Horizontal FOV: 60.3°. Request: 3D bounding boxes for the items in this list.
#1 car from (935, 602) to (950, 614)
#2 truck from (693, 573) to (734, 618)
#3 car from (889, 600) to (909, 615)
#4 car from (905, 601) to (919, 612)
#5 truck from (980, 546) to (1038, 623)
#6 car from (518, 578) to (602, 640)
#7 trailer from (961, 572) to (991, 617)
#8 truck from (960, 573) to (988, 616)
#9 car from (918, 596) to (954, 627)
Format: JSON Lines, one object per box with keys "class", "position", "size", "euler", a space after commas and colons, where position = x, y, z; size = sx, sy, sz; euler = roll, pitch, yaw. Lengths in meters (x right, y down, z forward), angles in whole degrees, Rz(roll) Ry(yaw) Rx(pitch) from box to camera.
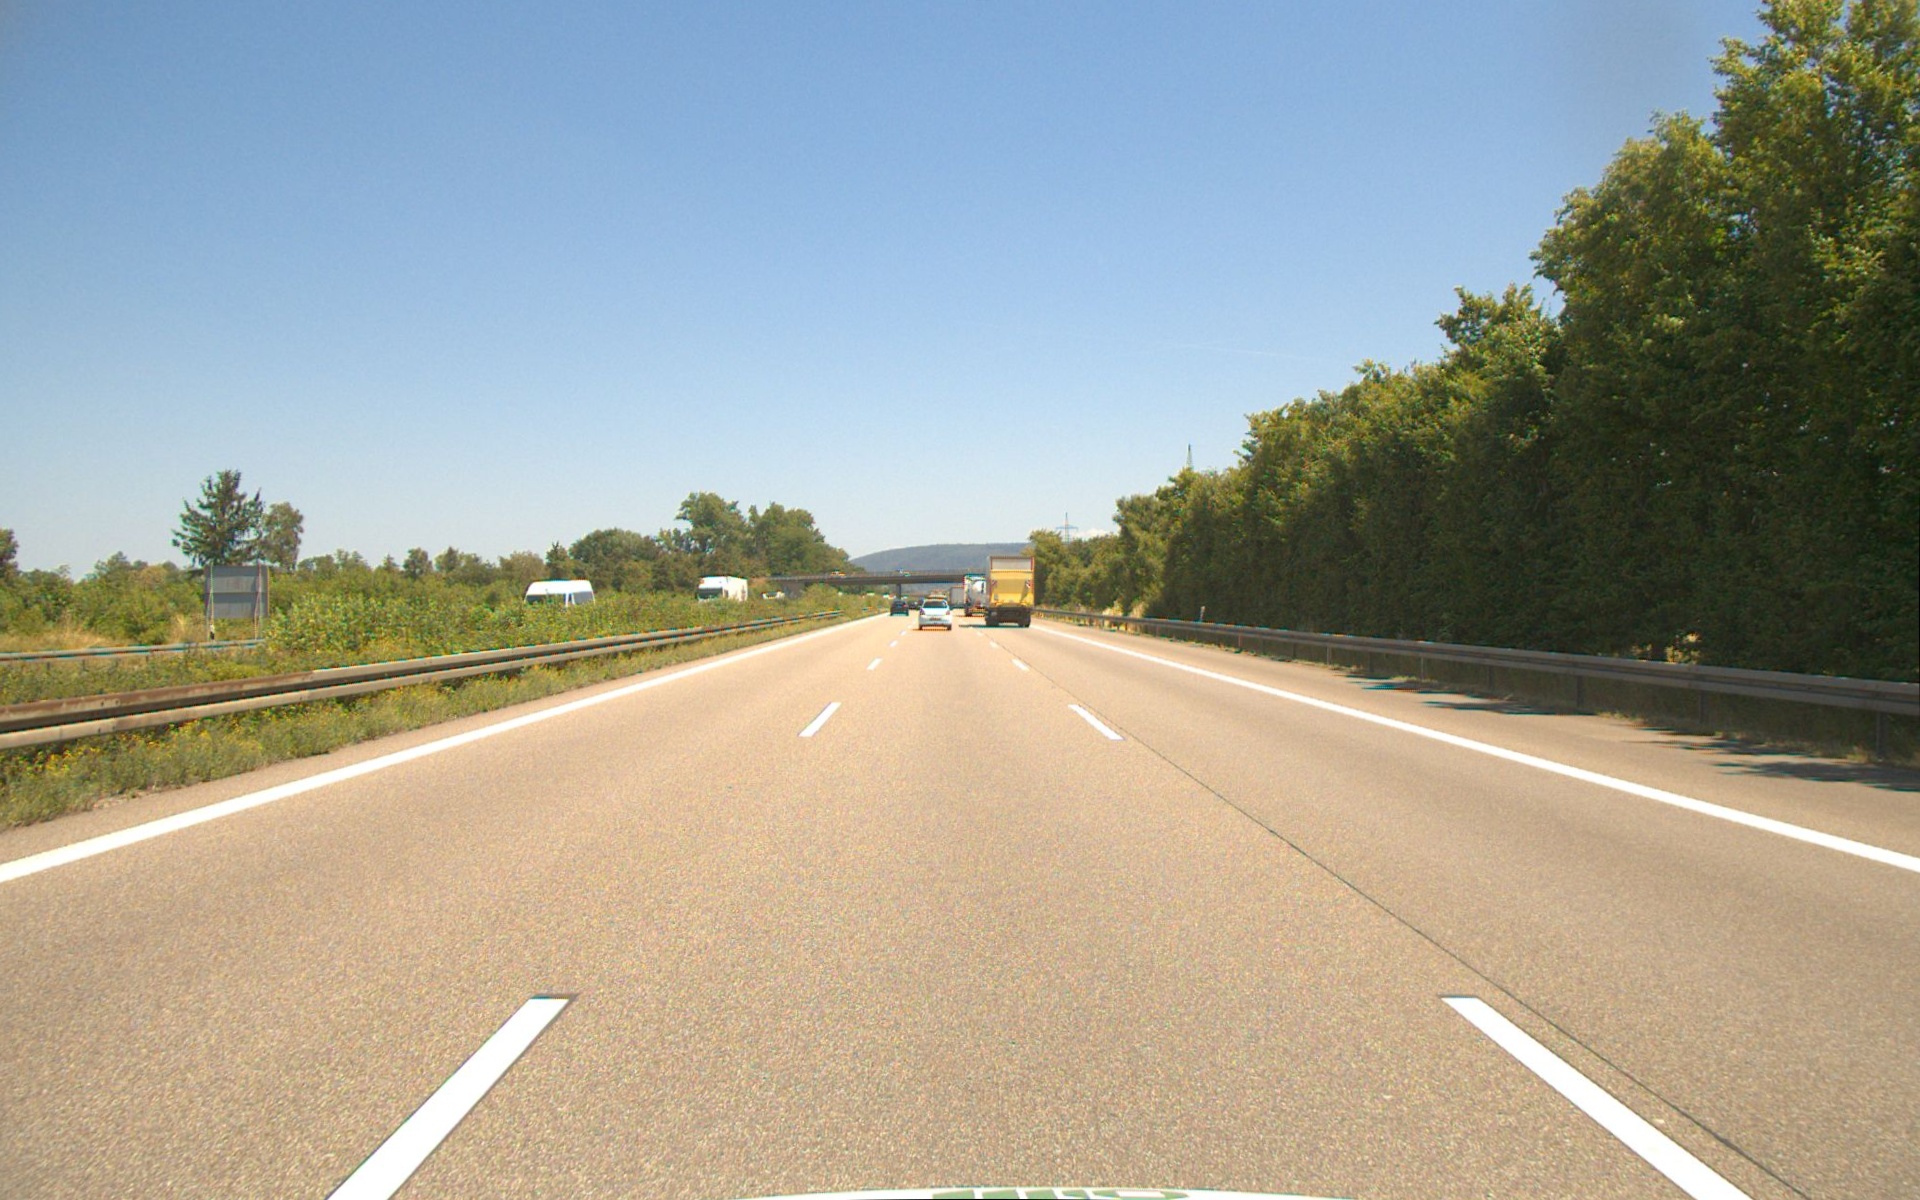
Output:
{"class": "car", "position": [-2.175, 1.005, 201.106], "size": [1.798, 1.411, 3.999], "euler": [1, 0, -1]}
{"class": "truck", "position": [-22.229, -0.375, 149.486], "size": [2.874, 3.937, 5.750], "euler": [1, 0, -1]}
{"class": "car", "position": [-5.809, 0.701, 157.600], "size": [1.798, 1.411, 3.999], "euler": [1, 0, -1]}
{"class": "car", "position": [-6.656, 0.916, 229.604], "size": [1.798, 1.411, 3.999], "euler": [1, 0, -1]}
{"class": "truck", "position": [2.835, -0.883, 98.306], "size": [2.874, 4.273, 10.678], "euler": [1, 0, -1]}
{"class": "car", "position": [-16.921, 0.372, 70.363], "size": [2.038, 2.436, 6.731], "euler": [1, 0, -1]}
{"class": "trailer", "position": [1.484, -0.500, 158.965], "size": [2.528, 4.146, 11.100], "euler": [1, 0, -1]}
{"class": "truck", "position": [1.372, -0.500, 163.841], "size": [2.521, 4.143, 6.391], "euler": [1, 0, -1]}
{"class": "car", "position": [-1.197, 0.547, 83.620], "size": [1.770, 1.494, 3.999], "euler": [1, 0, -1]}
